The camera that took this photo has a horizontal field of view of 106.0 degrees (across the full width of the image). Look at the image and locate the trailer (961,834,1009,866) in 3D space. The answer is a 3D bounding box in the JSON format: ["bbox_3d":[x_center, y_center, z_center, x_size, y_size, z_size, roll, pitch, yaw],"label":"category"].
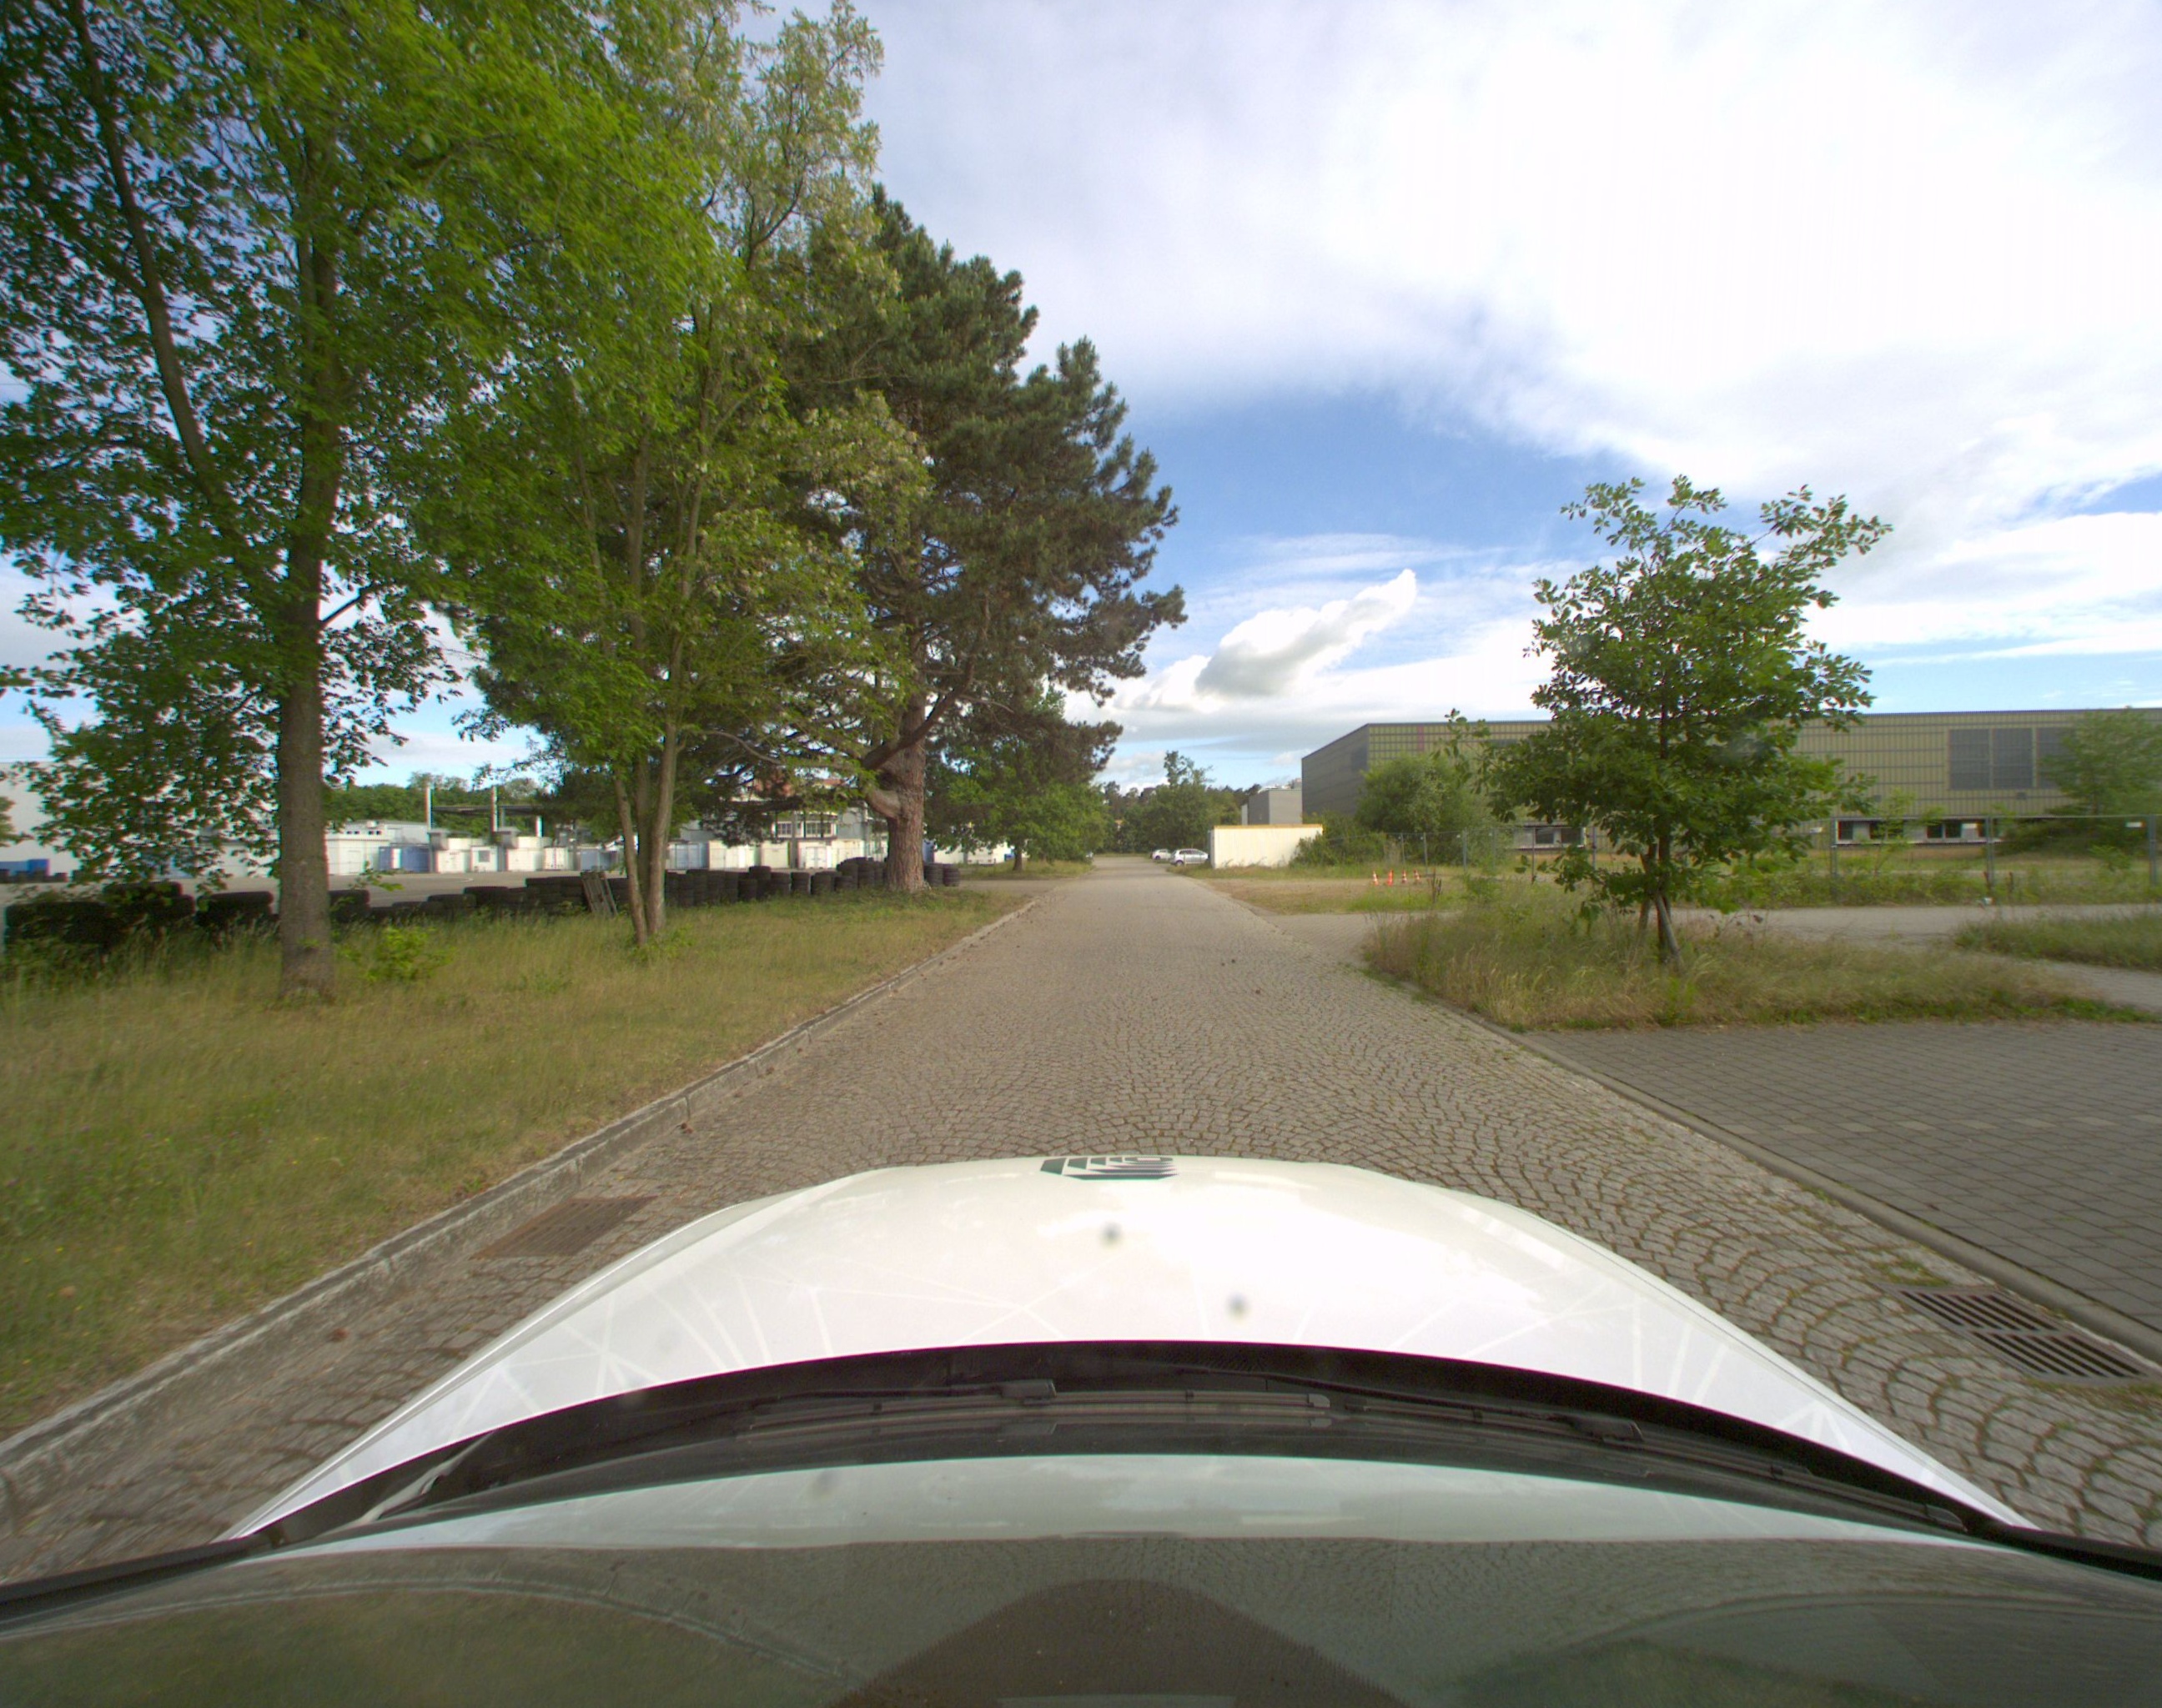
[{"bbox_3d":[-9.892,-0.429,85.078,3.144,3.067,8.796,-1,0,5],"label":"trailer"}]

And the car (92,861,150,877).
[{"bbox_3d":[-97.839,1.509,83.051,3.953,1.533,1.630,-1,0,0],"label":"car"}]

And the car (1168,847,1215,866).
[{"bbox_3d":[9.703,0.222,71.594,3.837,1.654,1.686,-1,0,0],"label":"car"}]

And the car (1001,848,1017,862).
[{"bbox_3d":[-11.055,0.149,125.772,1.918,2.047,4.600,-1,0,1],"label":"car"}]

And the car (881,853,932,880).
[{"bbox_3d":[-10.160,0.704,47.578,1.757,1.453,3.497,-1,0,8],"label":"car"}]

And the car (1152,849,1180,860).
[{"bbox_3d":[12.311,0.063,117.712,4.008,1.502,1.550,-1,0,3],"label":"car"}]

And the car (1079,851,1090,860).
[{"bbox_3d":[0.615,0.194,137.270,1.729,1.469,4.046,-1,0,1],"label":"car"}]
